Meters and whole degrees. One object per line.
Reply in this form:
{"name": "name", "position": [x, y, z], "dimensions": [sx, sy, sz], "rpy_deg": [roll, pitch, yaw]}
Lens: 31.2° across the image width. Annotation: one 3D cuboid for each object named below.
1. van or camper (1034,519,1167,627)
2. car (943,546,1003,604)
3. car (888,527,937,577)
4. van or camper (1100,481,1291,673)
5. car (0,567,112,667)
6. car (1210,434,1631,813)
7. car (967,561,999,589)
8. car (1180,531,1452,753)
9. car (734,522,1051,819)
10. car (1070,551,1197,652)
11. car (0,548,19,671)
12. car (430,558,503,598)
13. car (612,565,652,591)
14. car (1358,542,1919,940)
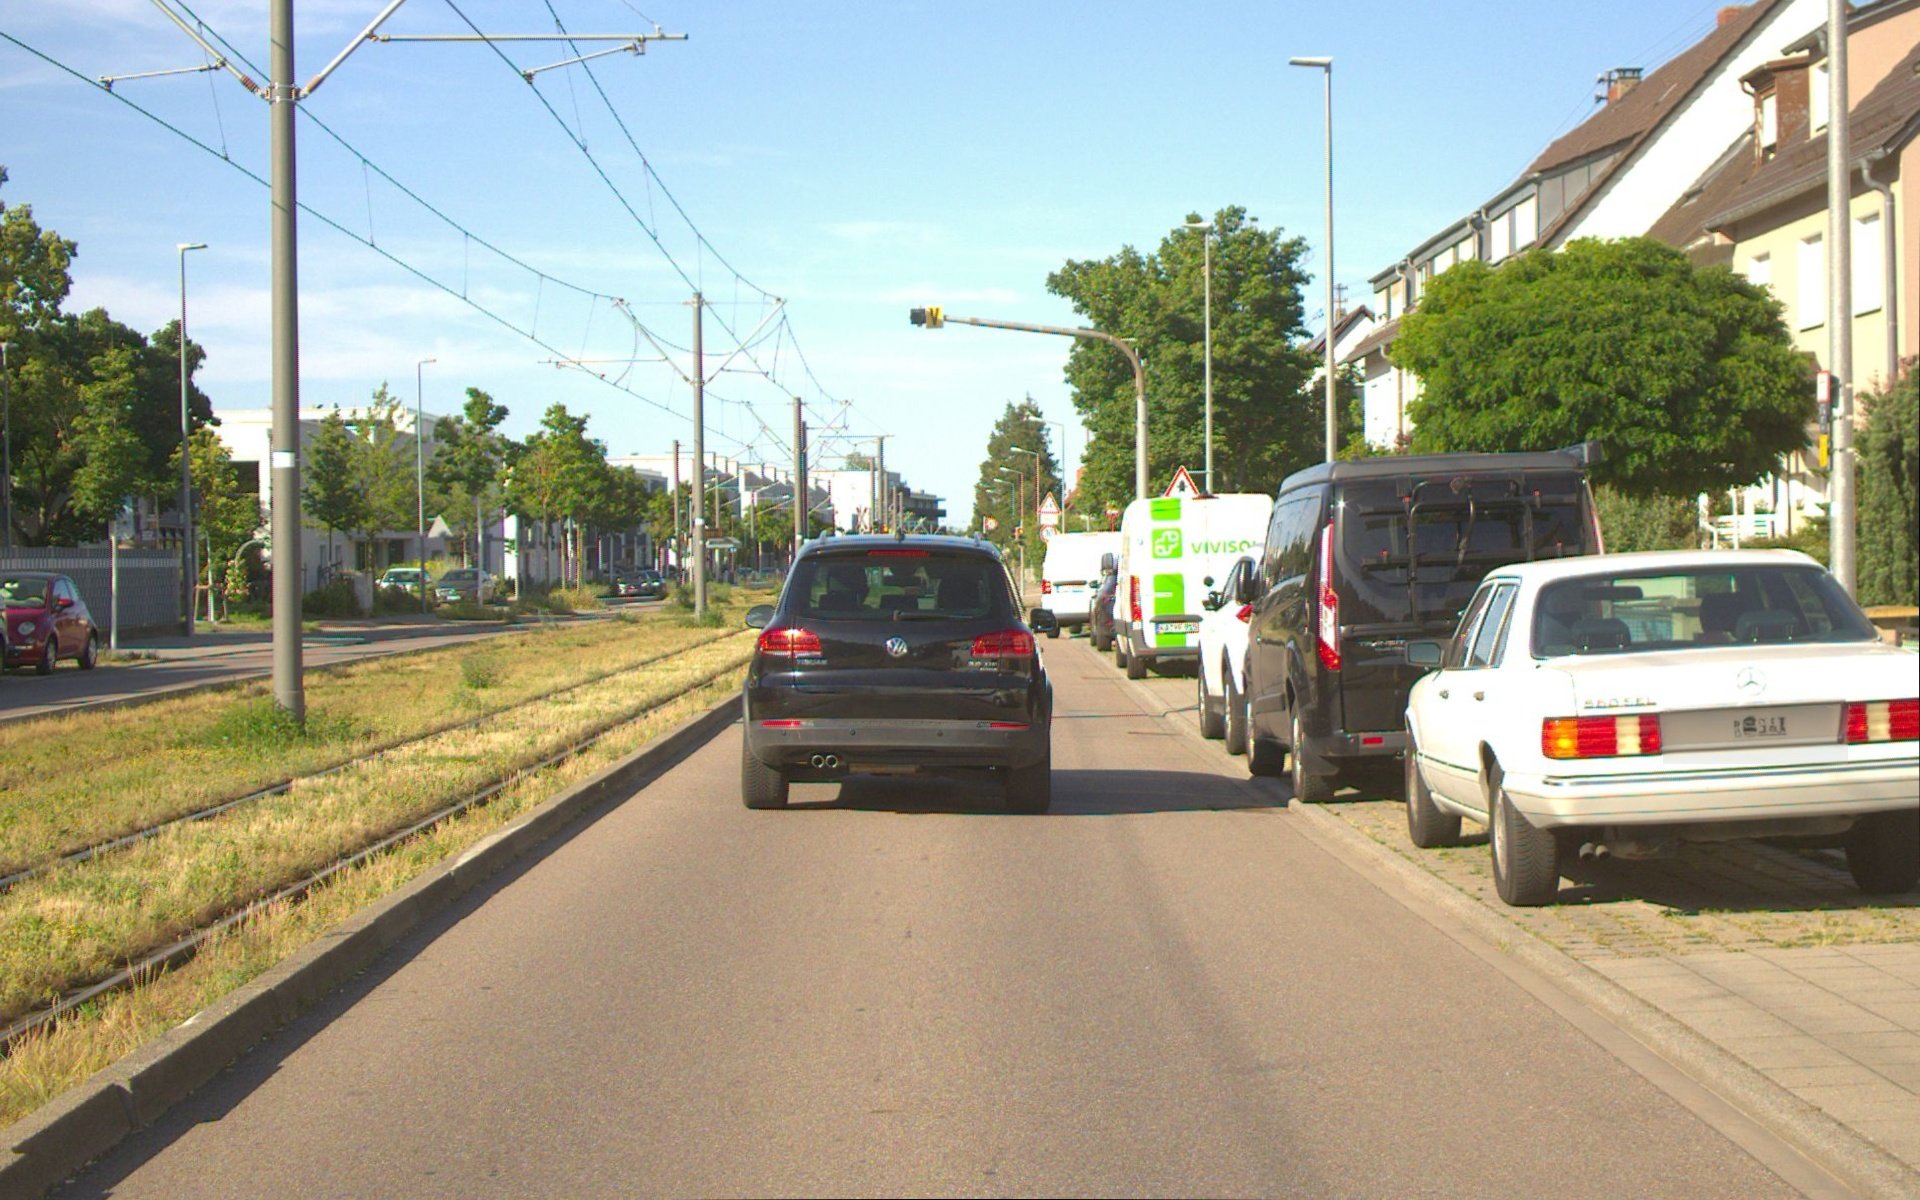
{"name": "van or camper", "position": [2.740, -0.548, 65.889], "dimensions": [2.028, 1.950, 5.293], "rpy_deg": [-1, 1, 8]}
{"name": "car", "position": [0.417, -0.841, 112.993], "dimensions": [1.627, 1.822, 4.131], "rpy_deg": [-1, 1, -4]}
{"name": "car", "position": [-2.429, -2.466, 177.869], "dimensions": [2.394, 2.556, 5.530], "rpy_deg": [-1, 1, 0]}
{"name": "van or camper", "position": [3.002, -0.304, 45.064], "dimensions": [1.993, 2.263, 6.305], "rpy_deg": [-2, 0, 0]}
{"name": "car", "position": [-14.056, 0.237, 51.386], "dimensions": [1.695, 1.400, 4.079], "rpy_deg": [-1, 1, 1]}
{"name": "car", "position": [2.862, 0.106, 22.574], "dimensions": [1.960, 2.137, 5.336], "rpy_deg": [-2, 1, 0]}
{"name": "car", "position": [1.377, -1.553, 208.960], "dimensions": [1.775, 1.664, 4.000], "rpy_deg": [-1, 1, -2]}
{"name": "car", "position": [2.852, 0.294, 28.341], "dimensions": [1.725, 1.640, 4.319], "rpy_deg": [-2, 1, 0]}
{"name": "car", "position": [-0.452, 0.387, 21.532], "dimensions": [1.775, 1.664, 4.000], "rpy_deg": [1, 0, -2]}
{"name": "car", "position": [2.756, -0.004, 55.463], "dimensions": [1.748, 1.489, 5.155], "rpy_deg": [-2, 0, 0]}
{"name": "car", "position": [-14.000, 0.135, 45.294], "dimensions": [1.819, 1.678, 4.846], "rpy_deg": [1, 1, 0]}
{"name": "car", "position": [-18.822, -0.845, 131.283], "dimensions": [1.811, 1.456, 4.317], "rpy_deg": [1, 0, 4]}
{"name": "car", "position": [-18.541, -1.249, 194.588], "dimensions": [1.688, 1.384, 4.387], "rpy_deg": [-2, 1, 2]}
{"name": "car", "position": [3.082, 0.494, 15.964], "dimensions": [1.852, 1.439, 5.613], "rpy_deg": [-3, 1, 1]}
